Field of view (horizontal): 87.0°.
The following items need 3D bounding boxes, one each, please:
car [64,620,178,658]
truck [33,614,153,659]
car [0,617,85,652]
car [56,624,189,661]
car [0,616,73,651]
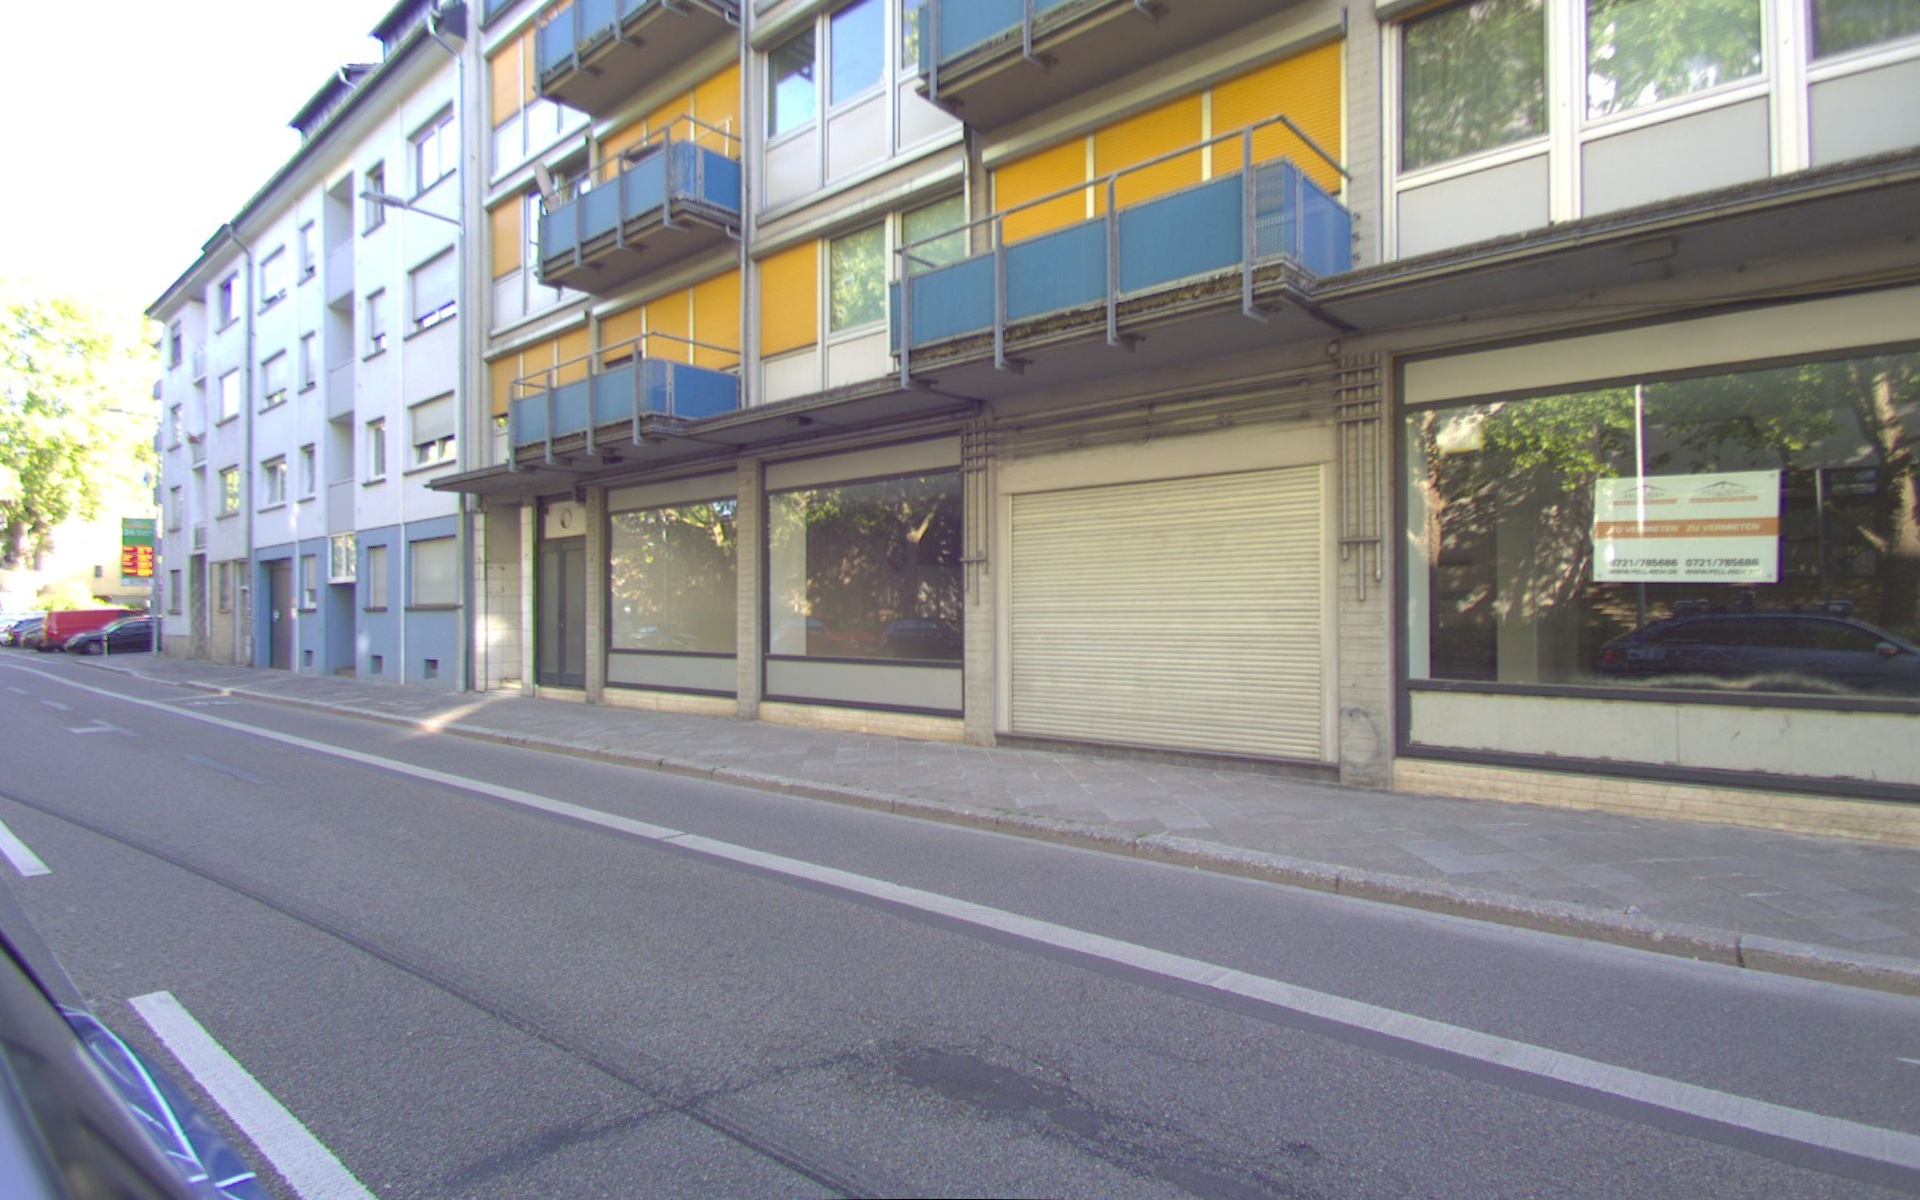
[{"bbox_3d":[-38.035,1.739,45.939,1.657,1.583,3.762,-1,0,41],"label":"car"},{"bbox_3d":[-40.713,1.657,47.572,1.999,1.939,4.040,-1,0,40],"label":"truck"},{"bbox_3d":[-56.049,2.076,61.469,2.000,1.971,4.180,-1,0,43],"label":"car"},{"bbox_3d":[-36.485,1.802,44.156,1.657,1.417,4.269,-1,0,40],"label":"car"},{"bbox_3d":[-59.333,2.105,64.399,2.000,2.052,4.180,-1,0,43],"label":"car"}]
